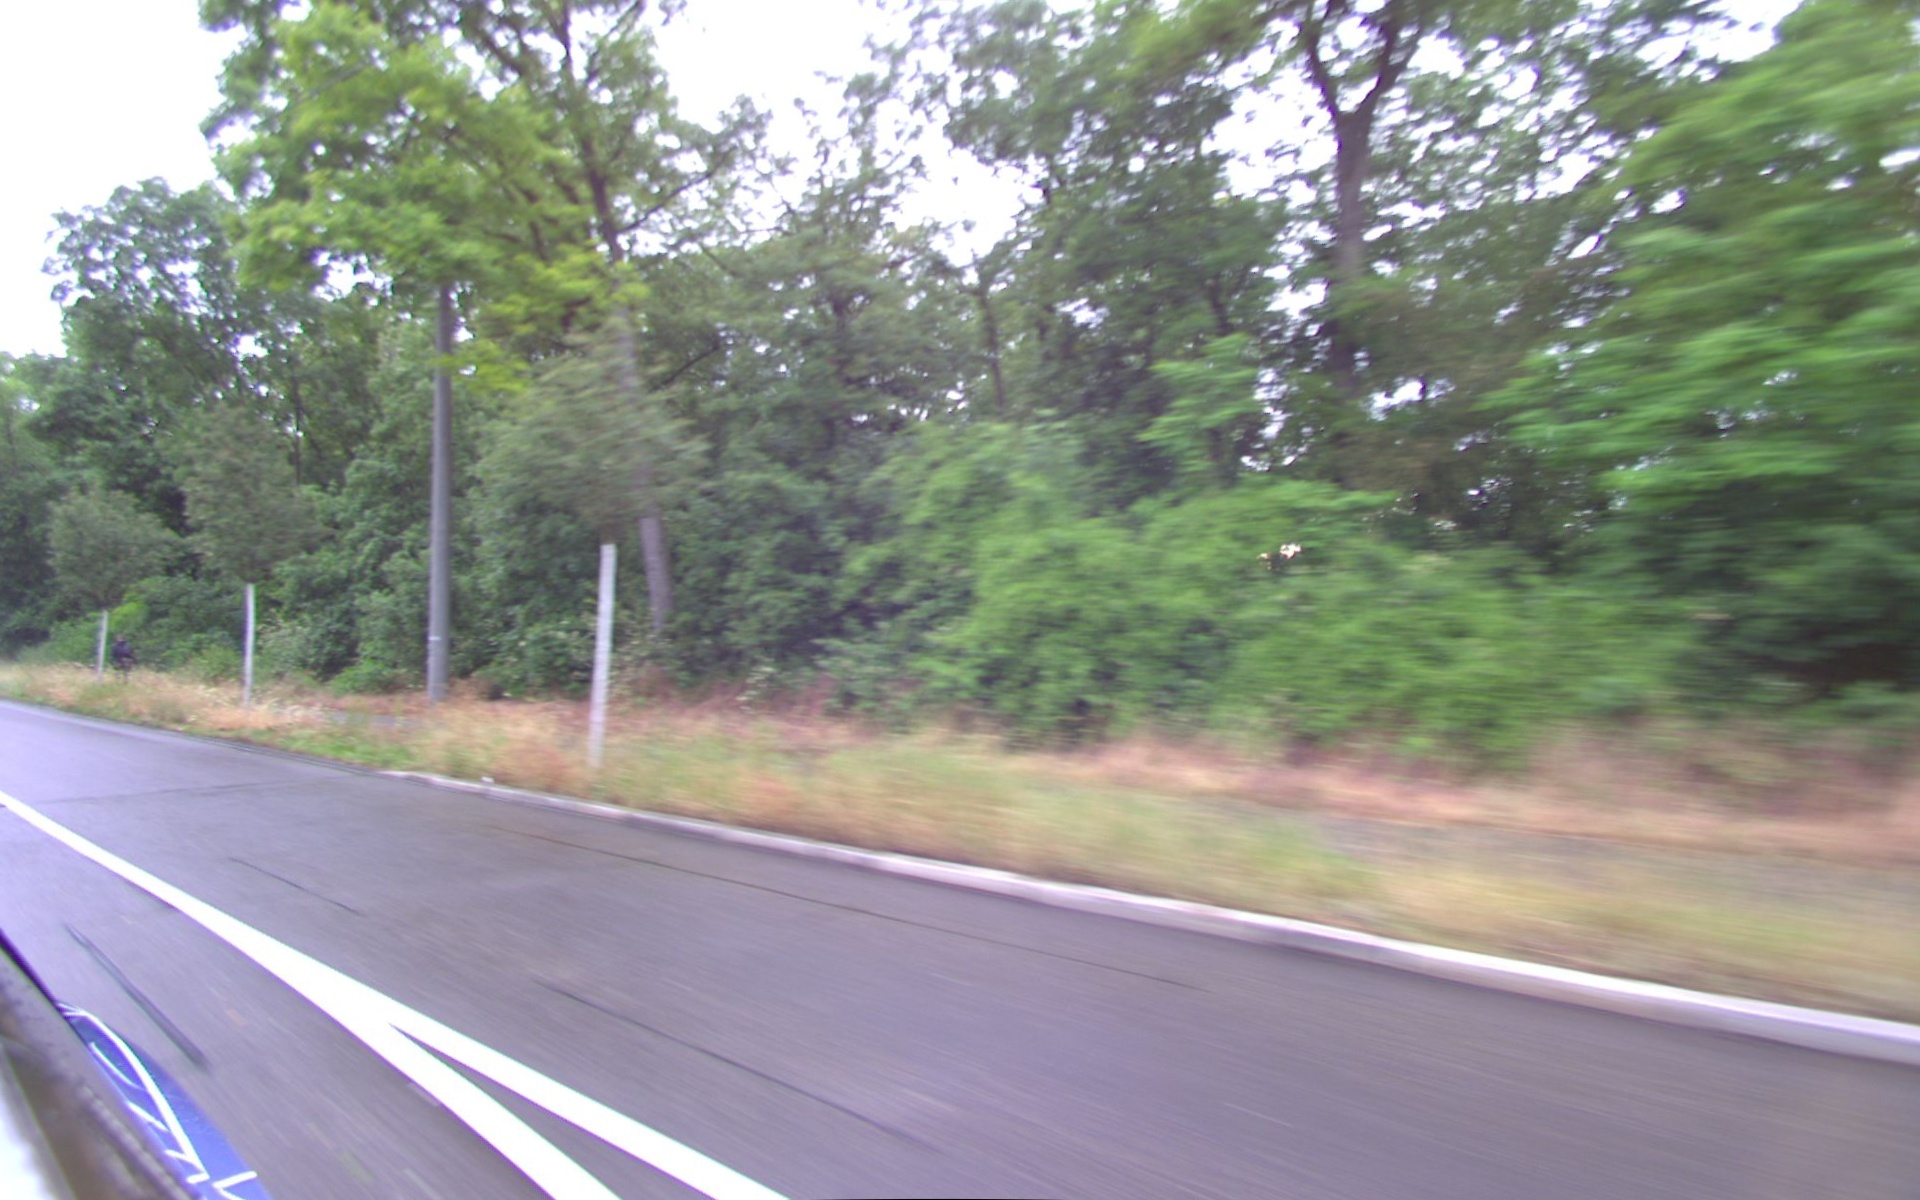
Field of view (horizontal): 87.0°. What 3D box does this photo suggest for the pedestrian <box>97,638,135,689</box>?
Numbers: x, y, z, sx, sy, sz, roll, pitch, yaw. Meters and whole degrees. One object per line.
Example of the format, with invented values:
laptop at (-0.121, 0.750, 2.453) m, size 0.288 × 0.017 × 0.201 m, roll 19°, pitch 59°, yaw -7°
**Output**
pedestrian at (-27.135, 2.035, 32.542) m, size 0.731 × 1.620 × 0.774 m, roll -2°, pitch -3°, yaw 37°
